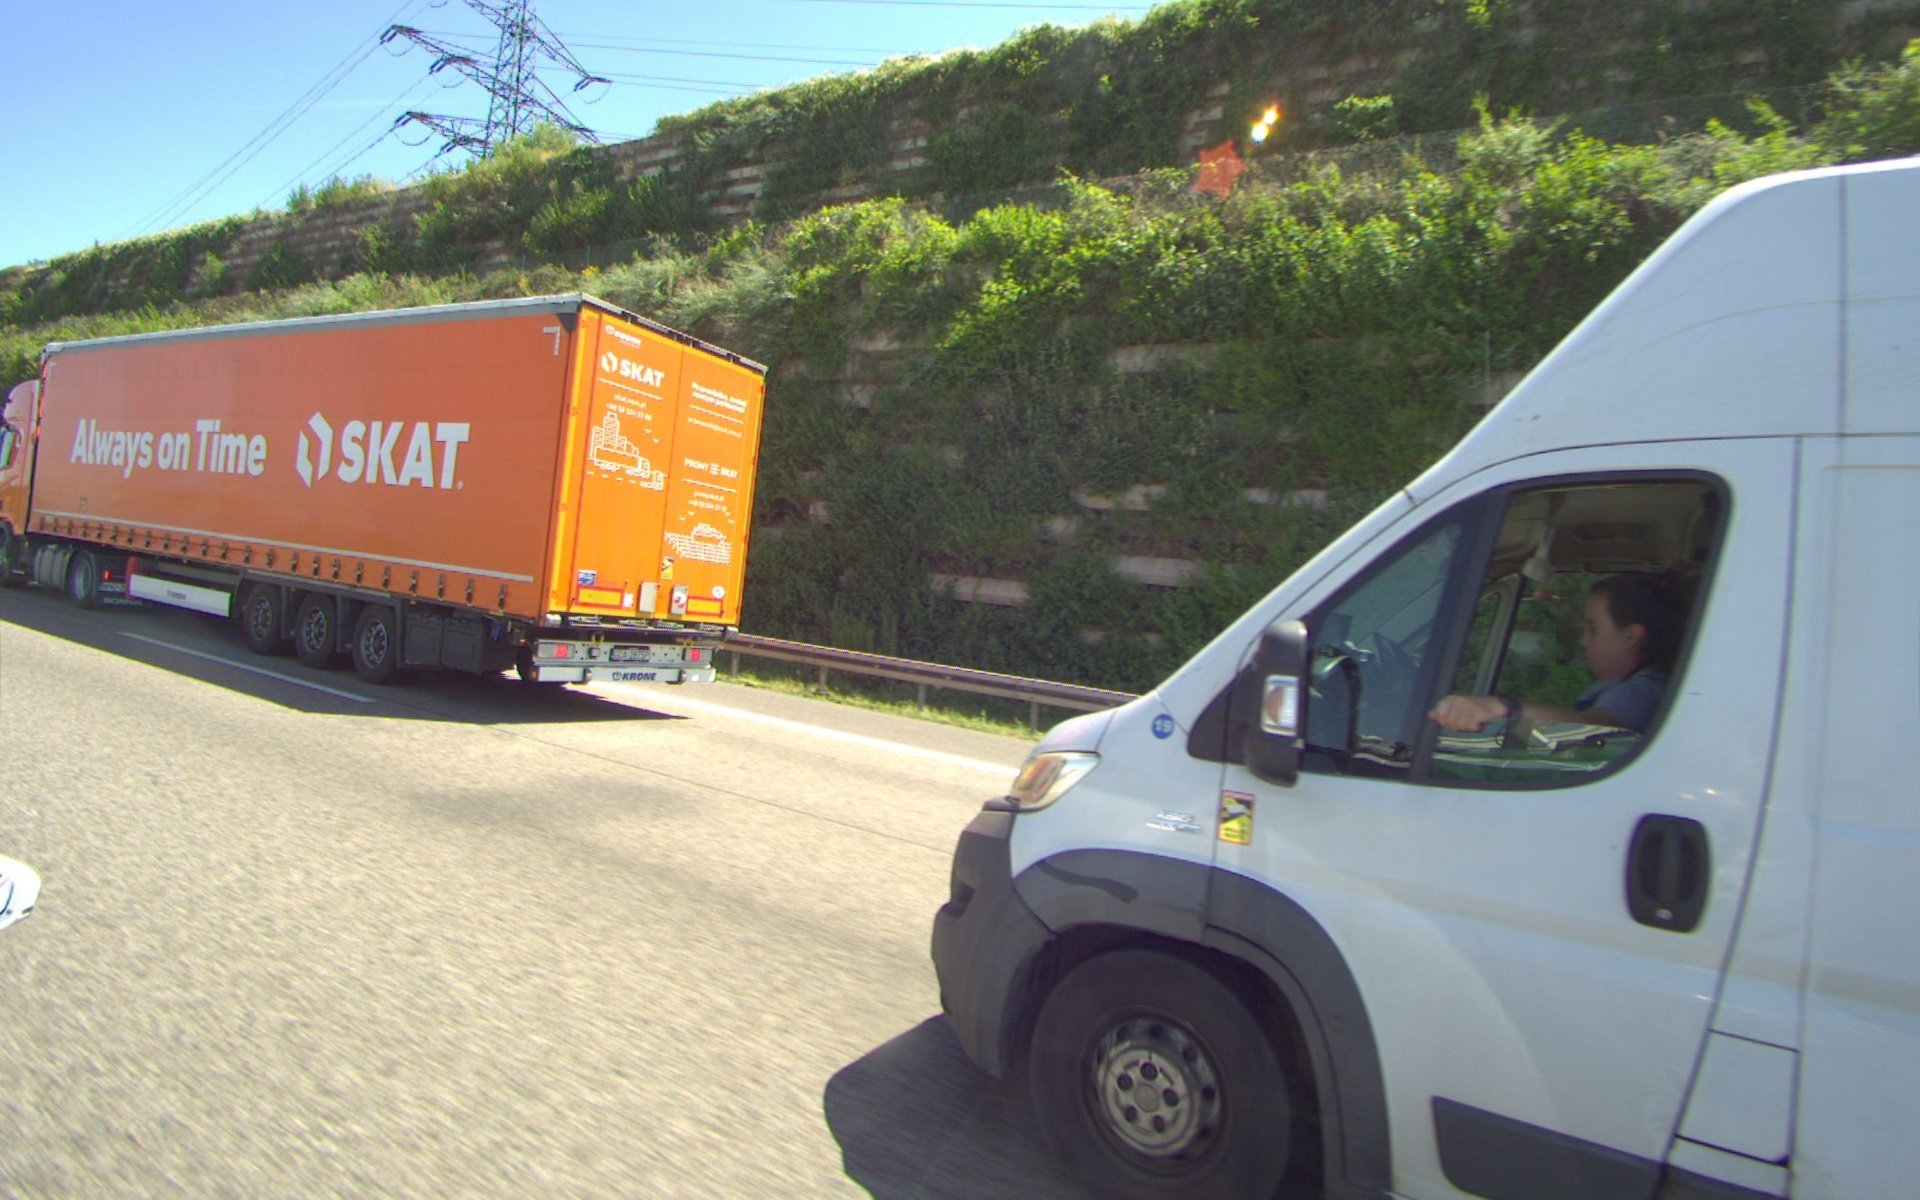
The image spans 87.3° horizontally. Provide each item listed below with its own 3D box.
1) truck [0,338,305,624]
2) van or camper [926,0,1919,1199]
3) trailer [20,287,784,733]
[{"bbox_3d":[-14.577,-2.004,17.457,6.418,4.041,2.621,6,0,32],"label":"truck"},{"bbox_3d":[3.412,0.510,1.941,6.644,2.803,2.099,6,0,31],"label":"van or camper"},{"bbox_3d":[-8.539,-1.334,13.744,13.380,4.053,2.648,6,0,32],"label":"trailer"}]
